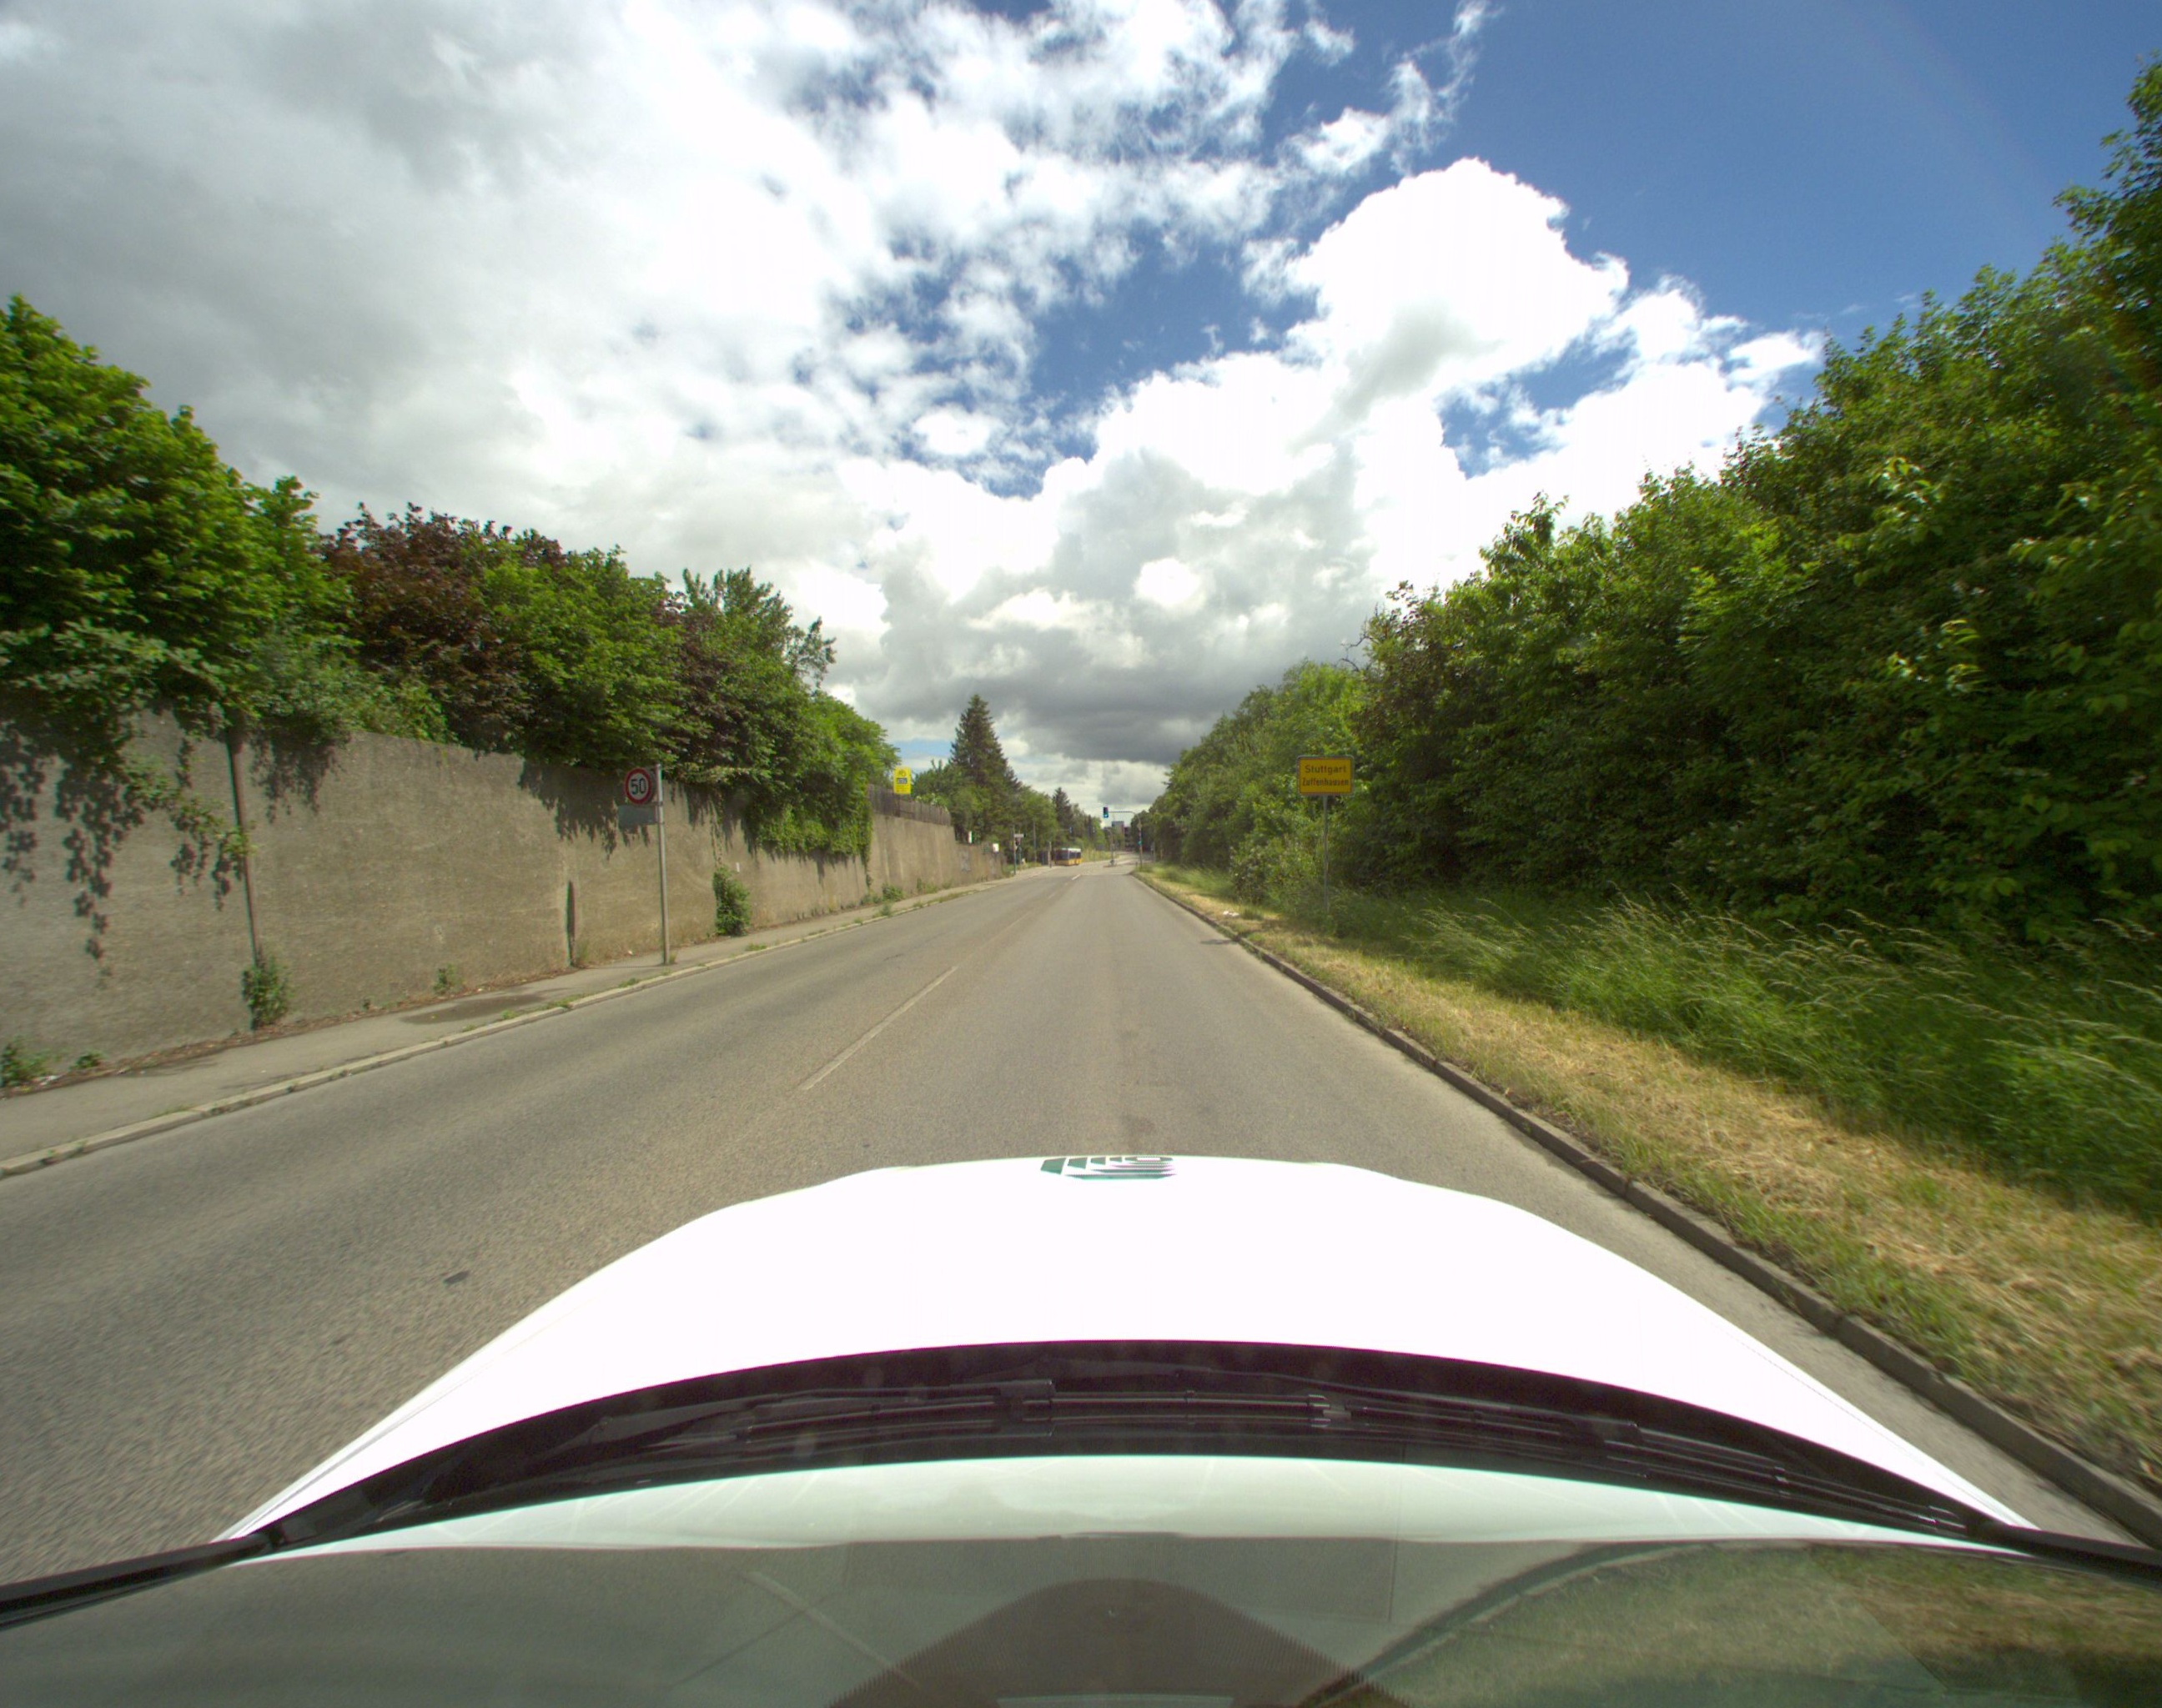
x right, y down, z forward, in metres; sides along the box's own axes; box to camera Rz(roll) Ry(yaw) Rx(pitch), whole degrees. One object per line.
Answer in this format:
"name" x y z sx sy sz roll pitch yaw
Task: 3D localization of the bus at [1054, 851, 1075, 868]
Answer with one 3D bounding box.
"bus" -2.877 0.931 142.896 2.881 2.898 7.678 0 1 5
